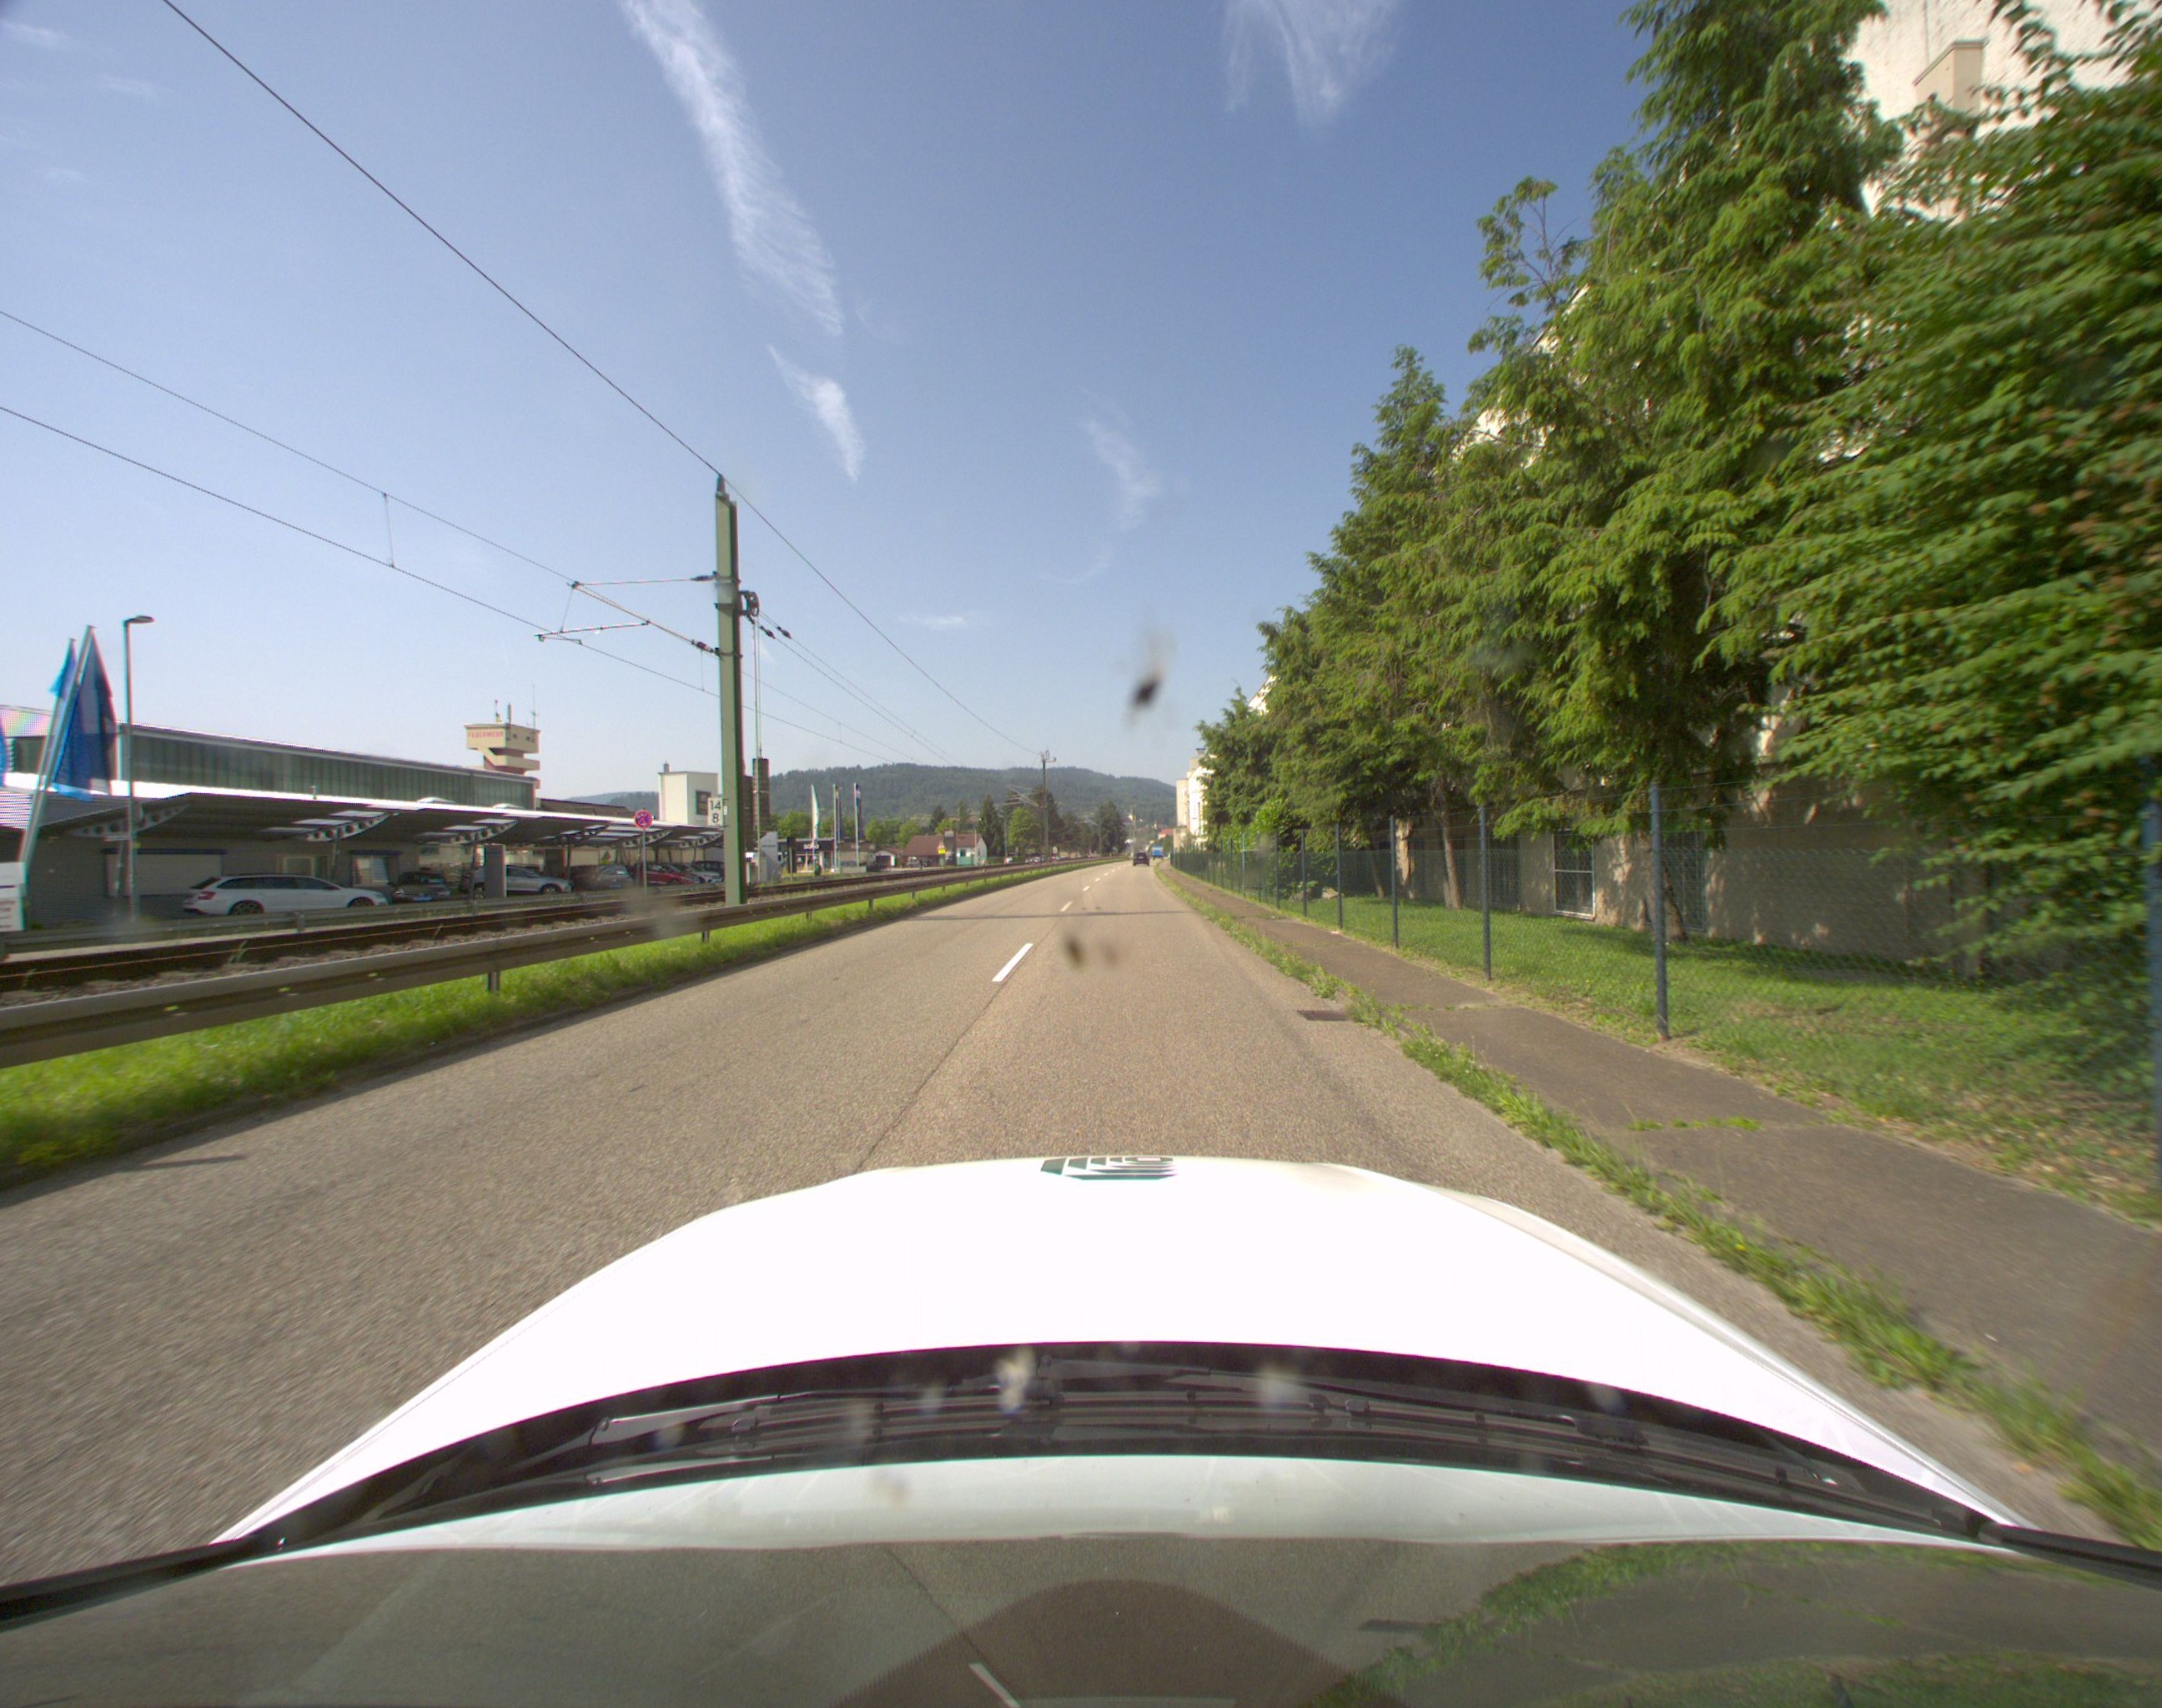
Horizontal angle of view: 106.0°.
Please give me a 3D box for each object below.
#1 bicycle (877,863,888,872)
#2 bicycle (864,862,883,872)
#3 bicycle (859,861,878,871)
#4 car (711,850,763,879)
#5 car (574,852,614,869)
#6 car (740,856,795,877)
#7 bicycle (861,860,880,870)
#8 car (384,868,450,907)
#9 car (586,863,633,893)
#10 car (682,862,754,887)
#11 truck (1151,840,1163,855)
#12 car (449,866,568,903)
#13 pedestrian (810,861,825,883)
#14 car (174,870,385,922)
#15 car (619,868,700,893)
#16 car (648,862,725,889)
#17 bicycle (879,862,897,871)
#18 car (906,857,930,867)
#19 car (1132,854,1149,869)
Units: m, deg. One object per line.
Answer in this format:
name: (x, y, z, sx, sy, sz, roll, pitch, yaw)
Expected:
bicycle: (-24.800, 1.673, 101.982, 0.725, 1.130, 2.176, -2, -1, 3)
bicycle: (-25.200, 1.603, 98.883, 0.721, 1.130, 2.337, -2, -1, 38)
bicycle: (-26.599, 1.479, 101.757, 2.157, 1.130, 0.731, -2, -1, 4)
car: (-34.123, 1.089, 81.033, 2.363, 2.633, 6.163, -2, -2, 2)
car: (-41.382, 0.539, 69.304, 1.449, 1.298, 3.483, -2, 0, -3)
car: (-26.075, 1.057, 67.741, 4.012, 1.530, 1.508, 4, -3, -32)
bicycle: (-26.521, 1.412, 102.544, 2.164, 1.130, 0.729, -2, -1, -6)
car: (-25.596, 1.234, 31.466, 1.856, 1.342, 4.160, -1, 0, -38)
car: (-25.367, 1.254, 43.754, 1.855, 1.505, 4.387, -1, 0, -35)
car: (-24.531, 1.384, 55.114, 4.054, 1.622, 1.643, 2, 0, -45)
truck: (15.718, -1.357, 167.671, 2.300, 2.970, 5.977, -1, 0, 7)
car: (-25.885, 1.349, 36.902, 4.291, 1.528, 1.827, 1, 0, -38)
pedestrian: (-21.394, 1.494, 66.163, 0.794, 1.734, 0.840, -2, 0, 25)
car: (-25.778, 1.287, 26.383, 1.823, 1.385, 4.552, -1, 0, 33)
car: (-24.881, 1.580, 48.132, 3.942, 1.325, 1.502, 1, 0, 1)
car: (-24.693, 1.325, 51.013, 3.942, 1.528, 1.664, 1, 0, 1)
bicycle: (-24.910, 1.602, 105.183, 2.164, 1.130, 0.729, -2, -1, -6)
car: (-29.253, 1.469, 146.091, 3.815, 1.651, 1.716, -2, 0, 7)
car: (6.955, 0.820, 94.826, 1.910, 1.640, 4.005, -1, 0, 5)
